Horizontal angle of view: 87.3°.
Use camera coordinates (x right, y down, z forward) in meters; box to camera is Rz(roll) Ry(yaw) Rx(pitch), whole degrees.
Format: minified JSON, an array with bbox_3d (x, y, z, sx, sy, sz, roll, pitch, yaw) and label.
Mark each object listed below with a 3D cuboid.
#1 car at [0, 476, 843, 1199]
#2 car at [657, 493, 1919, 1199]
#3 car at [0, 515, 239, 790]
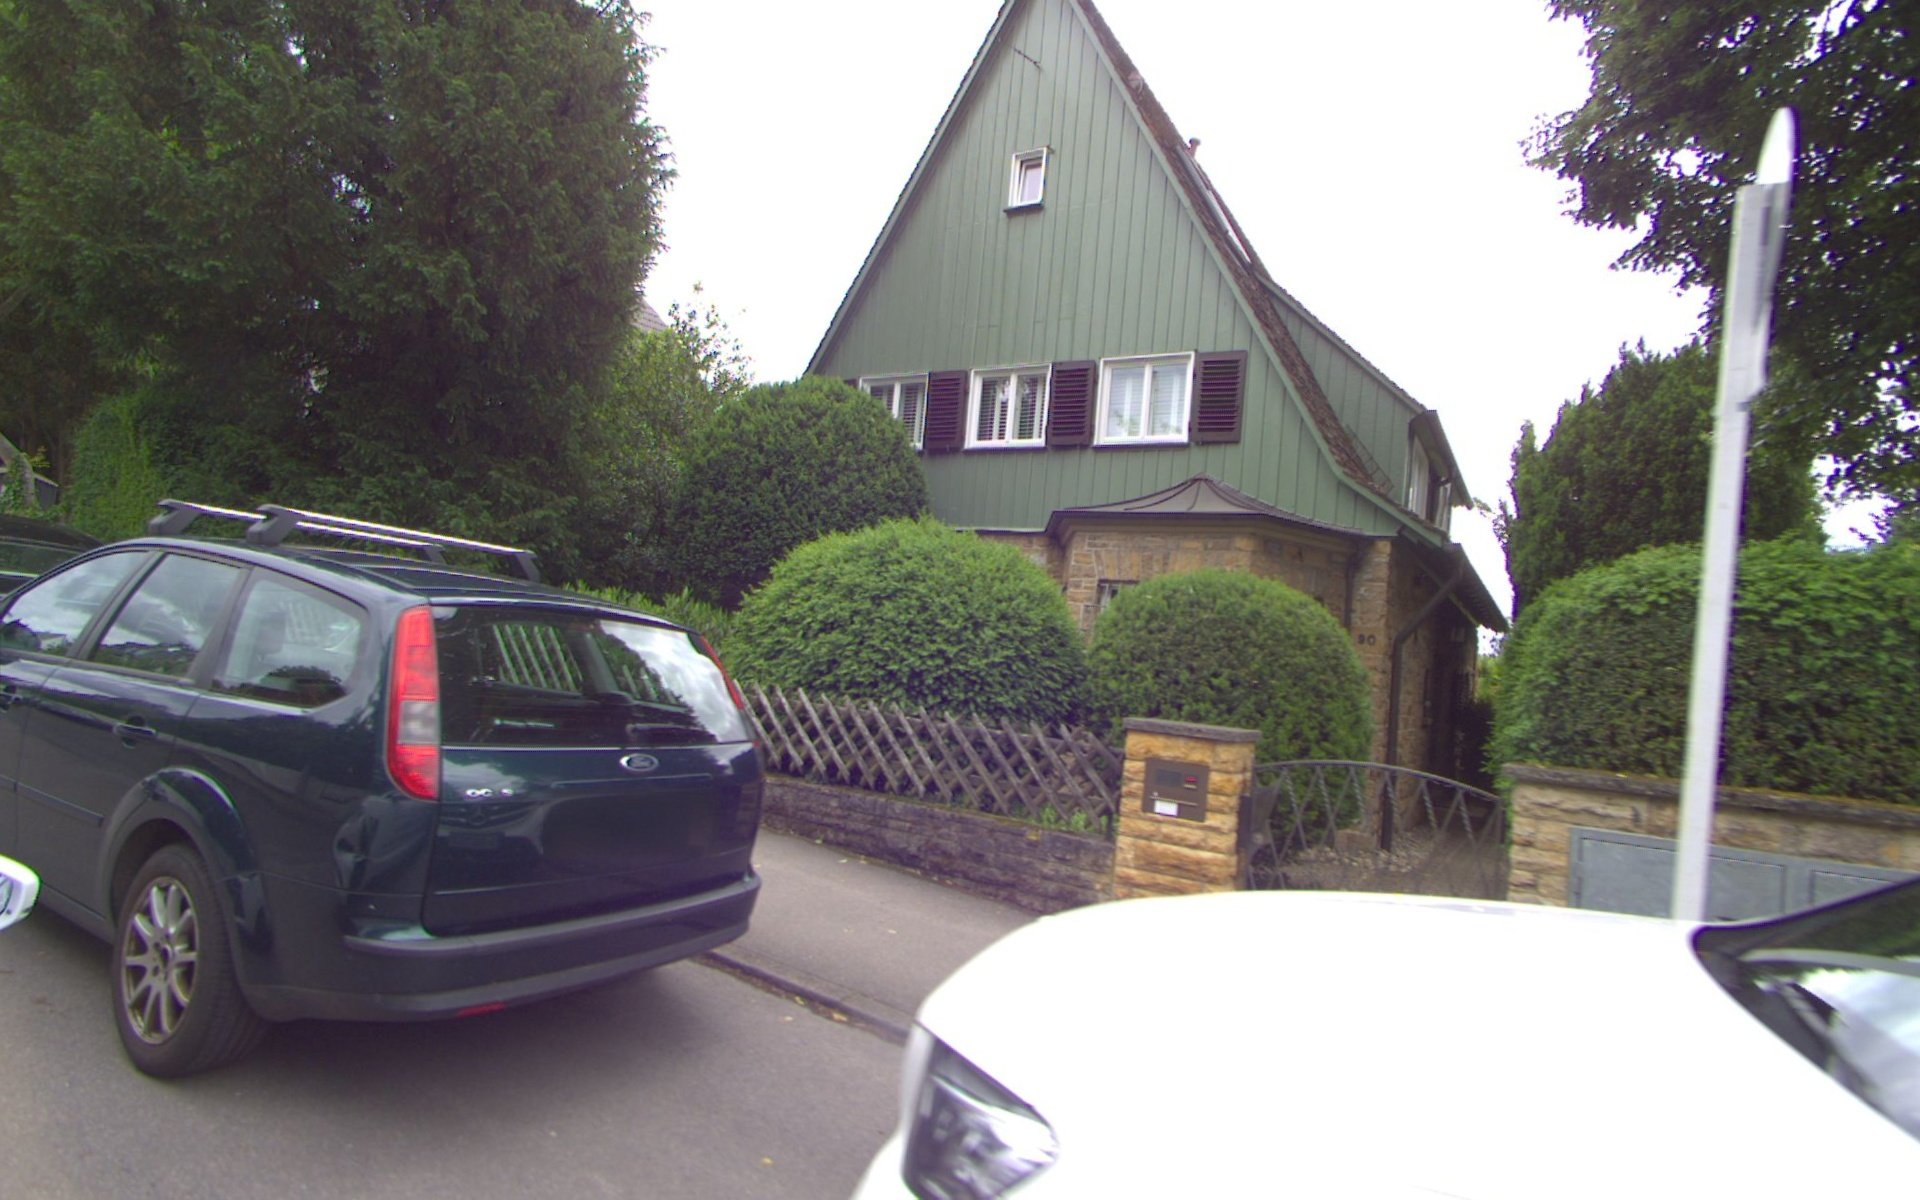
[{"bbox_3d":[-2.765,0.463,4.094,4.236,1.589,1.702,7,-1,30],"label":"car"},{"bbox_3d":[1.972,0.991,1.081,4.496,1.624,1.763,7,-3,28],"label":"car"},{"bbox_3d":[-6.910,0.095,6.728,4.584,1.439,1.656,7,-3,32],"label":"car"}]
